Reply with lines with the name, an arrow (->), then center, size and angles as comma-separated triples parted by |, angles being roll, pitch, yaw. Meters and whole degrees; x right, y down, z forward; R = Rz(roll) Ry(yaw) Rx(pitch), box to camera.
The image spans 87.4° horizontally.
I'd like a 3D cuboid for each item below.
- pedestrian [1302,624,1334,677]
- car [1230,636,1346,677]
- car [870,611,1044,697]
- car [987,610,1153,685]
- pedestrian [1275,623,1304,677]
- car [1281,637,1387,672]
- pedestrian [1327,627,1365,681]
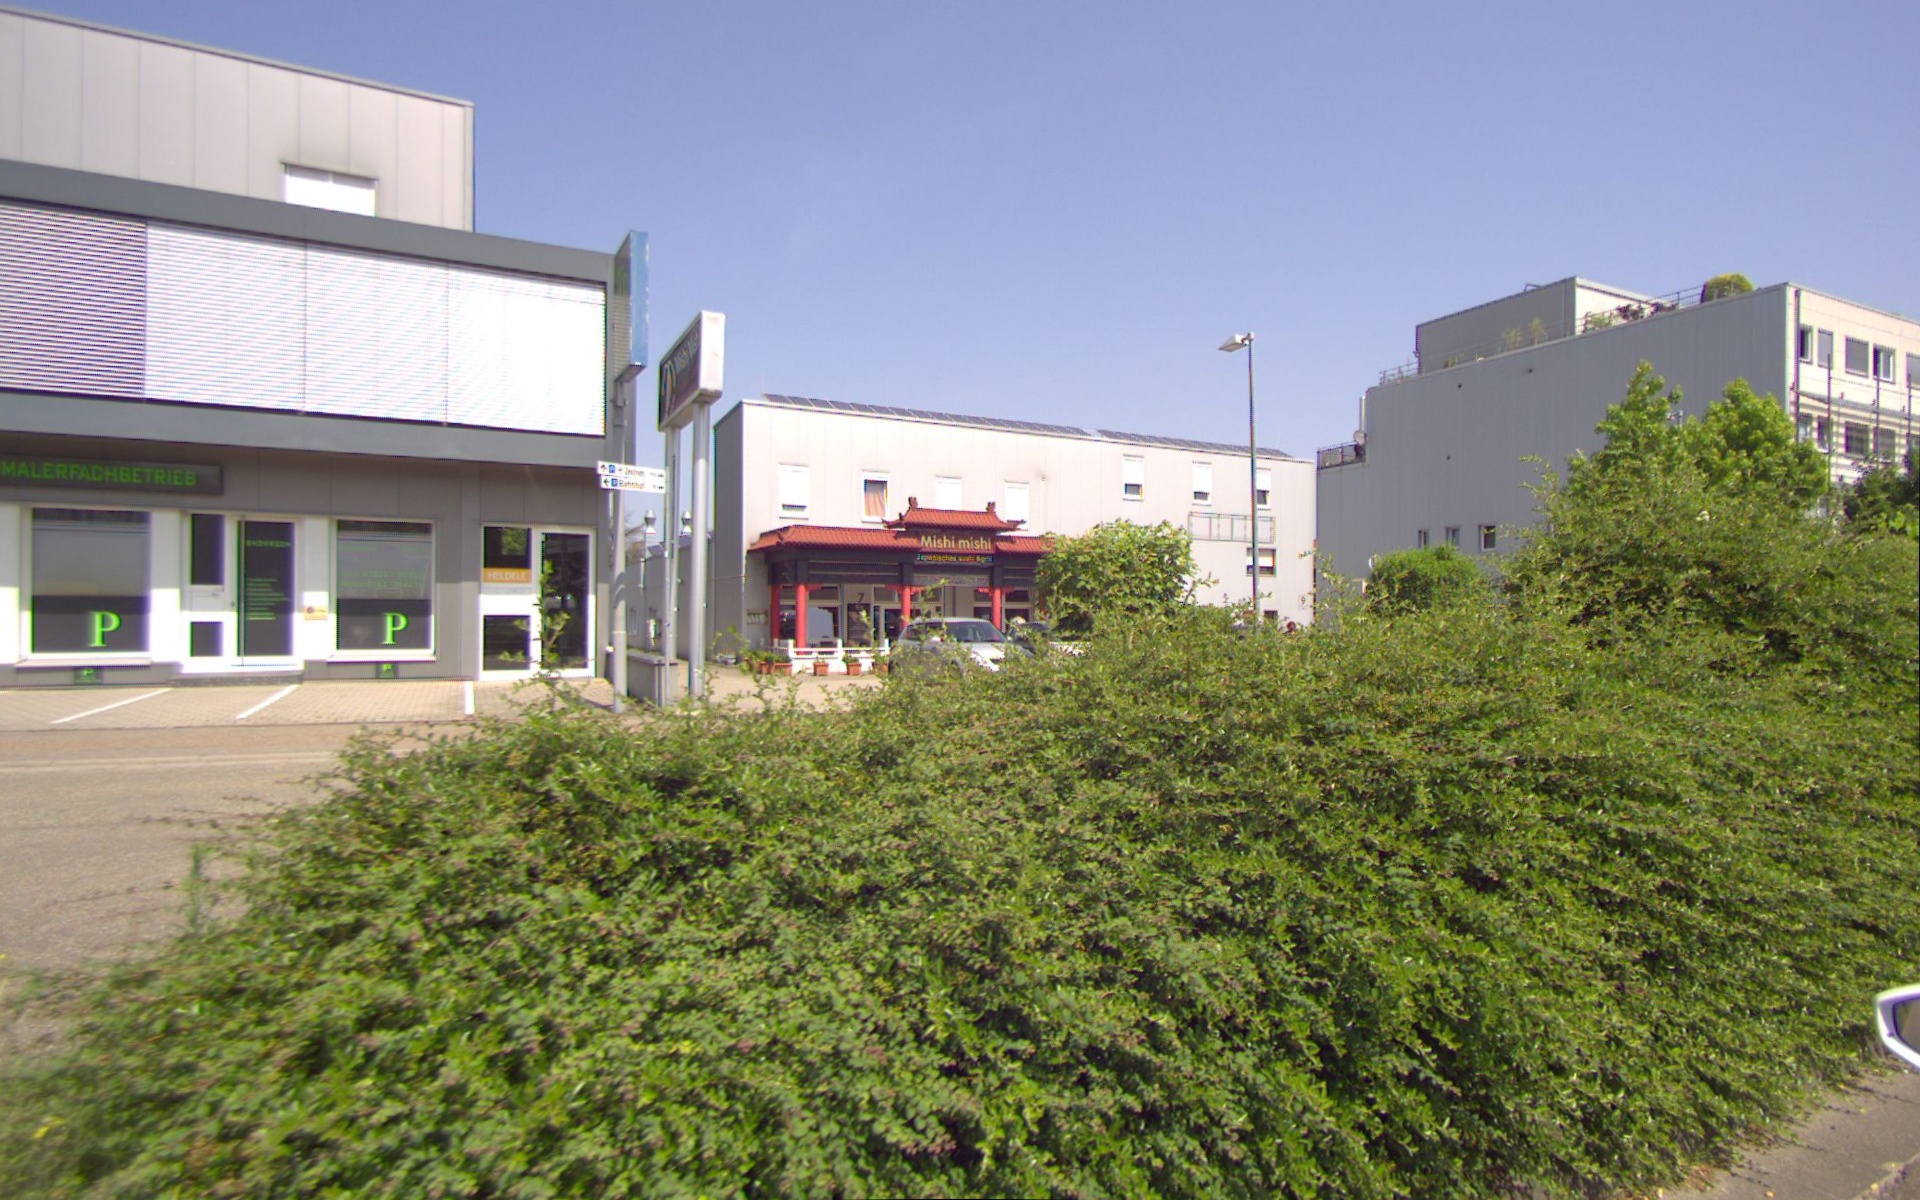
pedestrian -> 11.126, 1.566, 31.239 | 0.695, 1.599, 0.577 | 3, -1, -28
car -> 12.715, 2.196, 39.122 | 2.047, 1.486, 3.958 | 1, -3, -29
car -> -0.165, 1.088, 19.489 | 1.558, 1.478, 3.967 | 3, -5, -31
car -> 2.168, 0.988, 20.907 | 1.646, 1.389, 3.987 | 0, -3, -24
pedestrian -> 10.448, 1.586, 31.810 | 0.617, 1.678, 0.543 | 3, -1, -28
car -> 15.083, 2.154, 40.716 | 1.836, 1.302, 3.825 | 1, -2, -27
pedestrian -> 11.764, 1.635, 30.613 | 0.815, 1.605, 0.639 | 3, -1, -28
